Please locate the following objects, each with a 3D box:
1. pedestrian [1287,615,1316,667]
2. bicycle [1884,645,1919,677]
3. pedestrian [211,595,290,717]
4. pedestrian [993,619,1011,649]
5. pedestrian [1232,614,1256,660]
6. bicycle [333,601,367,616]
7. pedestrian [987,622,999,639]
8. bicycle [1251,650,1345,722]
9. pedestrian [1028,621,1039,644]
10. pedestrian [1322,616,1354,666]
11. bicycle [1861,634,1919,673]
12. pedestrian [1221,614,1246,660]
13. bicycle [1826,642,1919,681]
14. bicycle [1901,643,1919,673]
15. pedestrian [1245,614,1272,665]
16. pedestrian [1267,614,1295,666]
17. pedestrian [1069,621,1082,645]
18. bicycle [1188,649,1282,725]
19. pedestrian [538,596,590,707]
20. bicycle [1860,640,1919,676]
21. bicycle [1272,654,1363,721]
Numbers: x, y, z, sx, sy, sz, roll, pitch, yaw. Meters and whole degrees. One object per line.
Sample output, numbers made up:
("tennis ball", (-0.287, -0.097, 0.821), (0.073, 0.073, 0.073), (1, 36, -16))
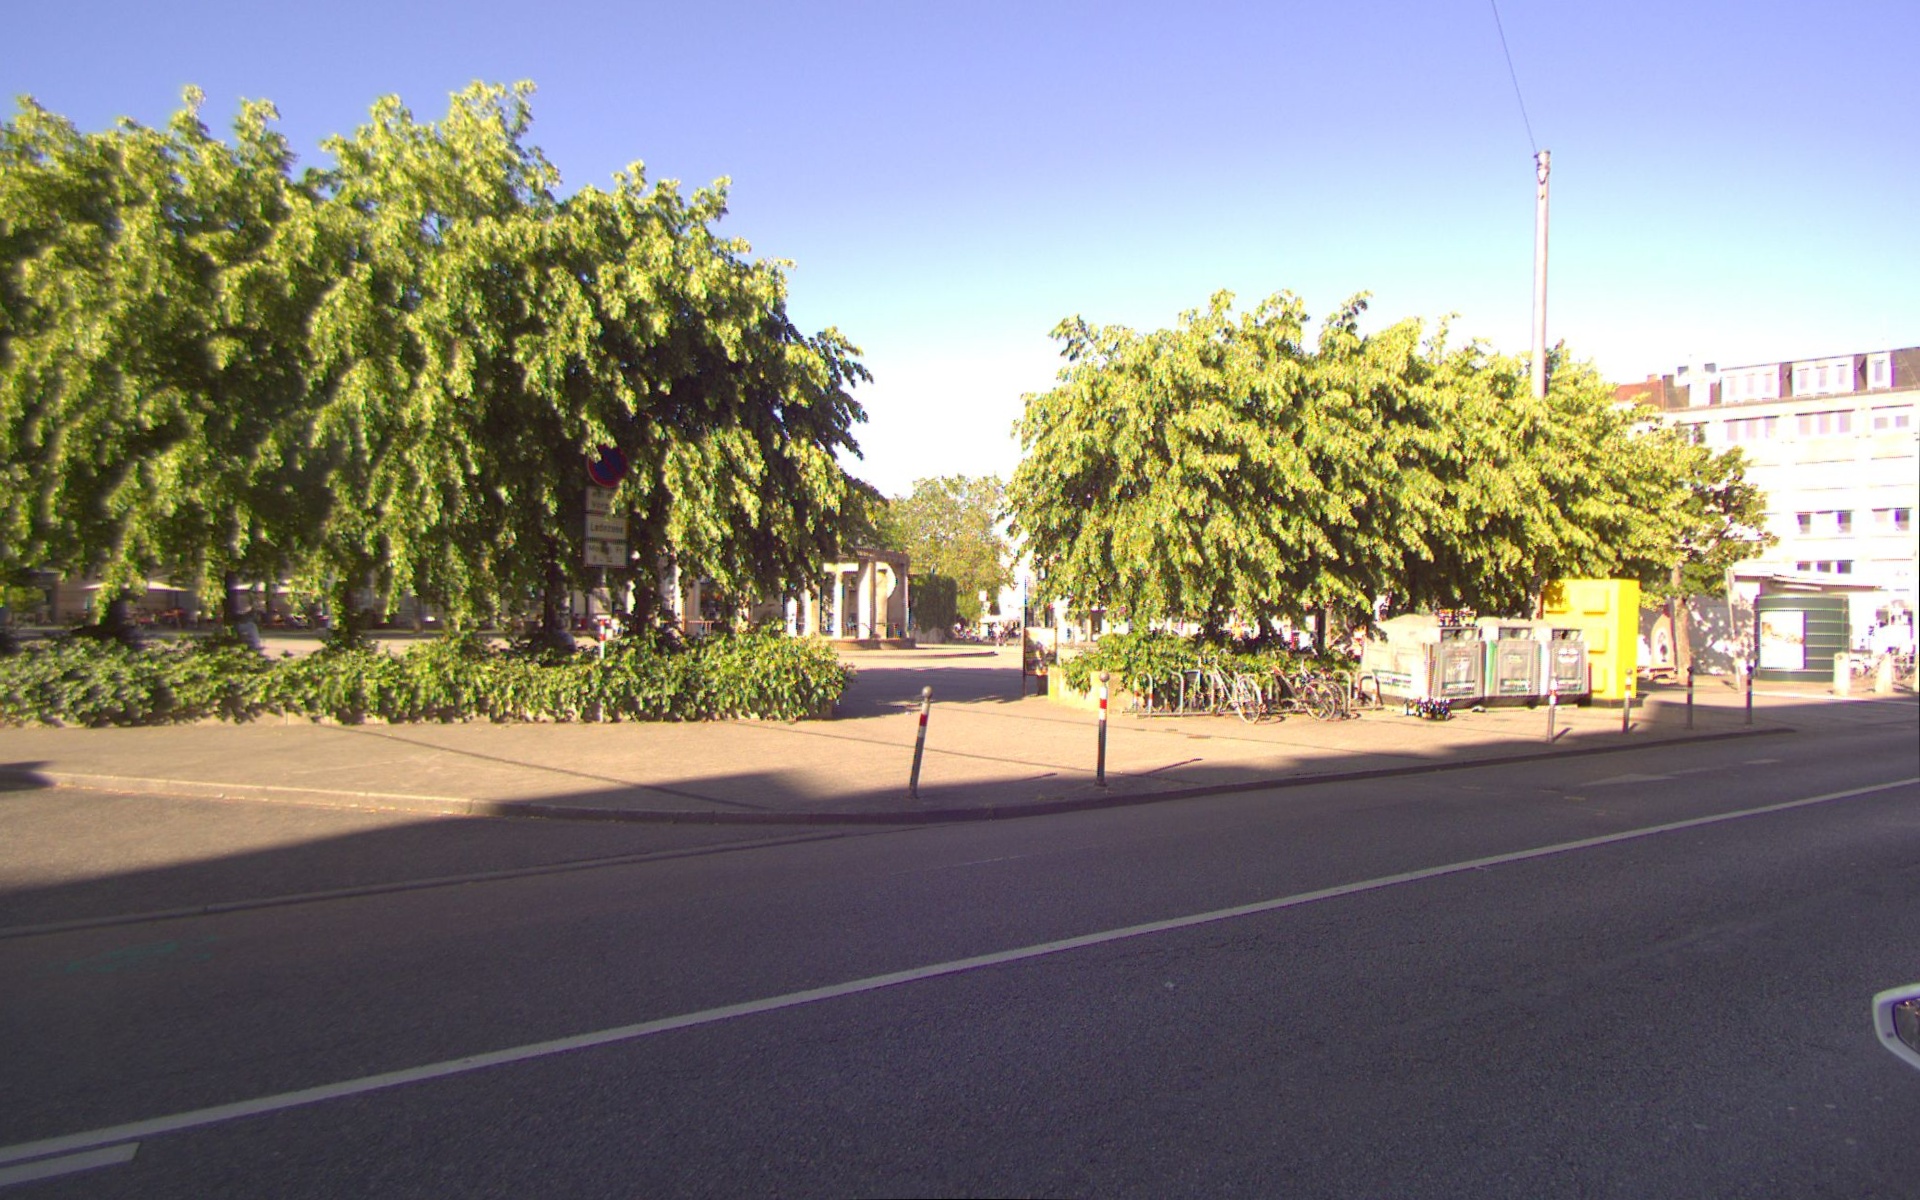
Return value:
("pedestrian", (13.750, 1.631, 40.423), (0.886, 2.040, 0.993), (1, 0, 7))
("bicycle", (36.763, 2.323, 38.030), (0.834, 1.171, 2.517), (1, -1, -34))
("pedestrian", (-10.741, 0.830, 15.235), (0.725, 1.781, 0.895), (1, -1, -19))
("pedestrian", (2.972, 2.399, 71.037), (0.893, 2.040, 0.985), (1, 0, -28))
("pedestrian", (12.901, 1.659, 45.646), (0.886, 2.040, 0.993), (1, 0, 7))
("bicycle", (-41.567, 0.563, 68.453), (0.580, 0.966, 1.897), (0, -1, 41))
("pedestrian", (3.898, 3.663, 120.204), (1.229, 1.936, 1.237), (1, 0, -8))
("bicycle", (5.396, 1.353, 16.129), (0.425, 1.036, 1.561), (1, -1, -28))
("pedestrian", (6.643, 2.928, 90.478), (0.886, 2.040, 1.403), (1, -1, 2))
("pedestrian", (15.834, 1.702, 42.128), (0.886, 2.040, 1.221), (1, -1, 1))
("bicycle", (34.490, 1.939, 36.523), (0.913, 1.341, 2.461), (1, -1, -35))
("pedestrian", (12.148, 1.635, 44.655), (0.886, 2.040, 0.993), (1, 0, 7))
("bicycle", (30.914, 2.052, 33.869), (0.833, 1.171, 2.493), (1, -1, -31))
("bicycle", (38.687, 2.311, 39.509), (0.834, 1.171, 2.308), (1, -1, -34))
("pedestrian", (12.341, 1.625, 41.518), (0.886, 2.040, 0.993), (1, 0, 7))
("pedestrian", (12.913, 1.607, 40.472), (0.886, 2.040, 0.993), (1, 0, 7))
("pedestrian", (9.850, 2.775, 85.457), (0.886, 2.040, 1.403), (1, -1, 12))
("bicycle", (4.228, 1.320, 15.545), (0.425, 1.031, 1.590), (1, 0, -28))
("pedestrian", (-6.547, 0.840, 16.633), (0.725, 1.781, 0.895), (1, -1, -19))
("bicycle", (33.130, 2.033, 35.034), (0.833, 1.171, 2.449), (1, -1, -31))
("bicycle", (5.823, 1.407, 16.441), (0.425, 0.971, 1.518), (0, 0, -28))
